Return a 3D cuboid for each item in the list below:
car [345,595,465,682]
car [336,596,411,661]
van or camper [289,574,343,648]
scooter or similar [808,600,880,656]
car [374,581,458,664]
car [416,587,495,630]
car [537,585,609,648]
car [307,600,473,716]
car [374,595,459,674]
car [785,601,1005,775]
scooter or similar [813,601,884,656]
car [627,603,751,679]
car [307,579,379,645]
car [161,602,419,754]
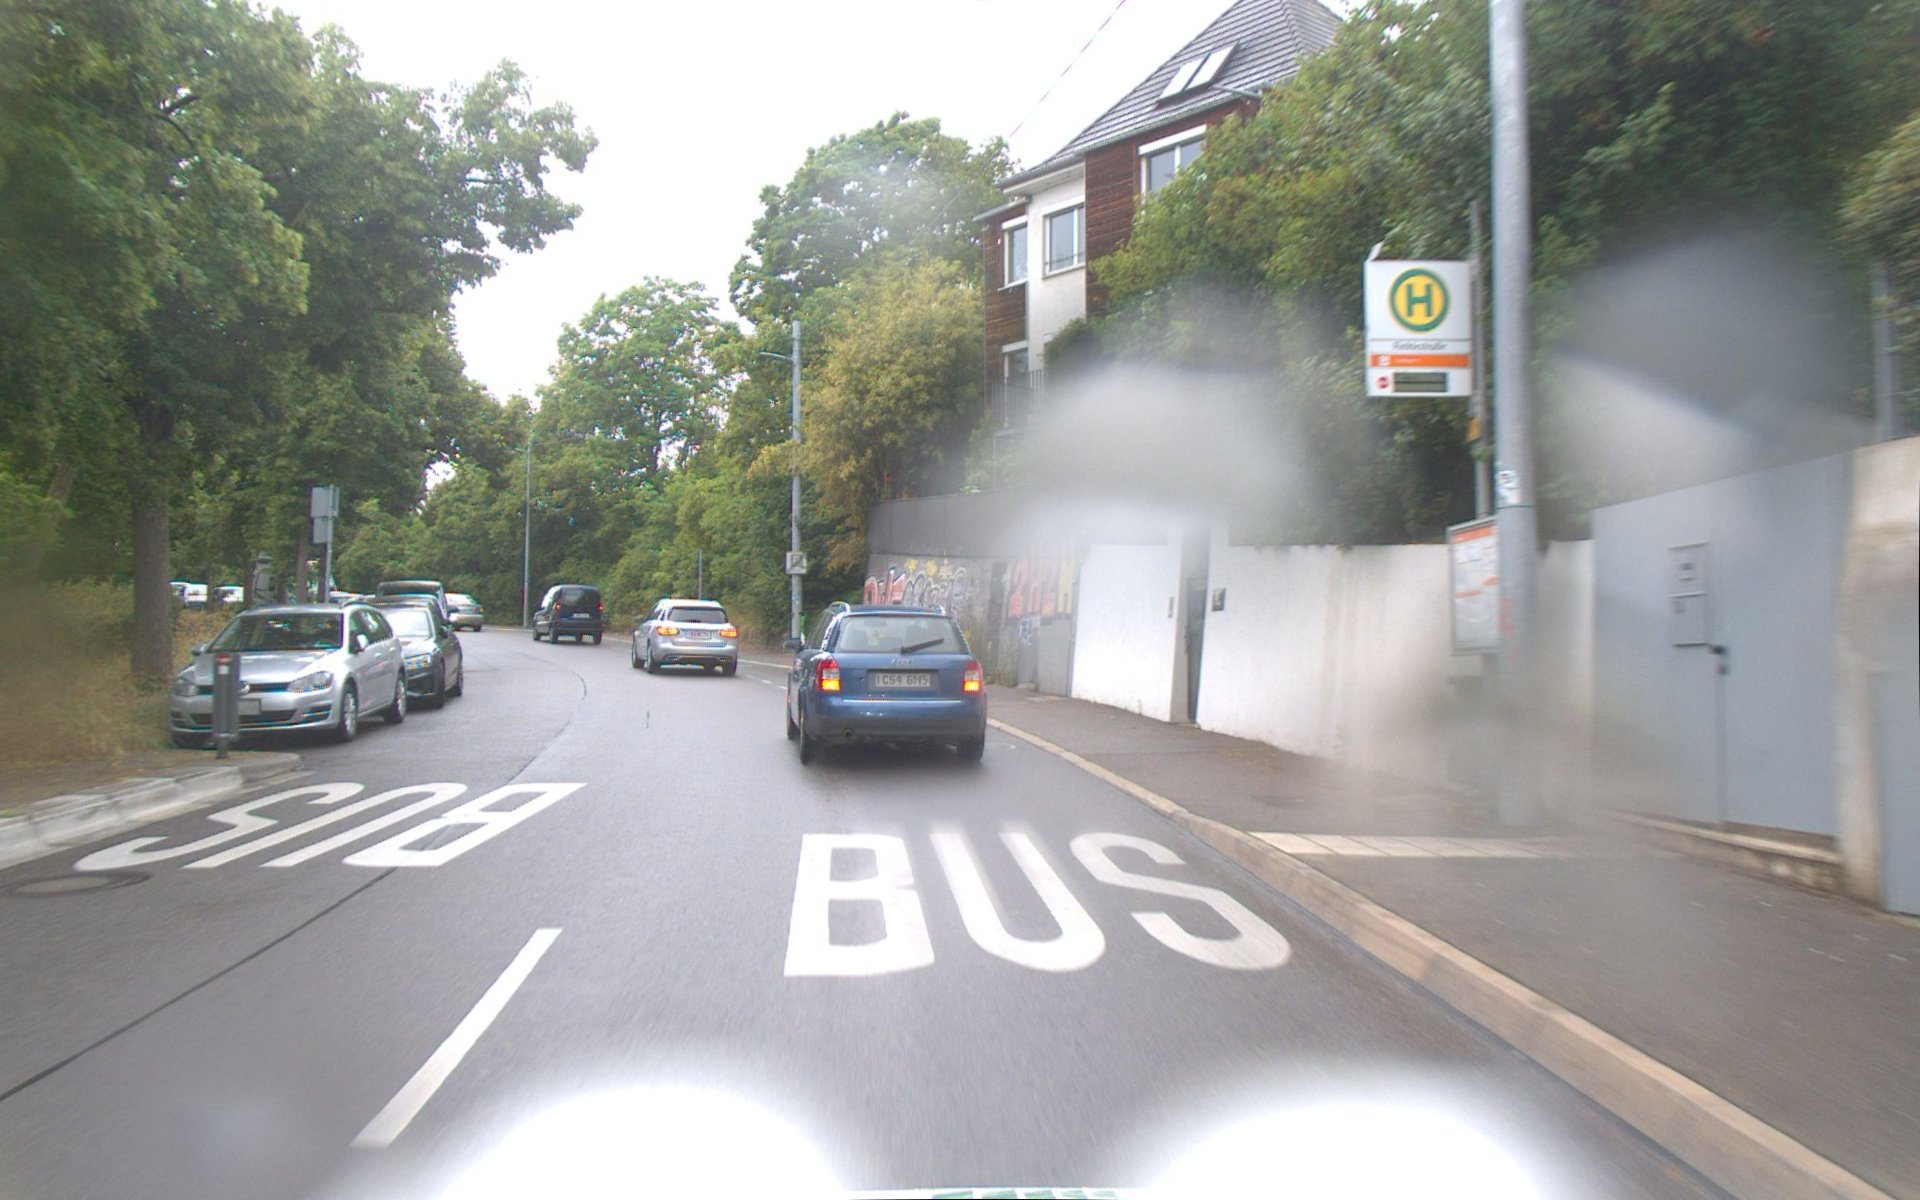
[{"bbox_3d":[-10.162,0.663,30.507,1.645,1.451,3.987,-2,0,-13],"label":"car"},{"bbox_3d":[-17.454,0.829,49.135,1.965,1.758,3.974,-2,0,-21],"label":"car"},{"bbox_3d":[-24.940,0.415,64.022,1.756,2.697,3.961,-2,0,-23],"label":"van or camper"},{"bbox_3d":[-3.075,0.739,43.708,1.799,1.338,0.599,4,-3,-7],"label":"scooter or similar"},{"bbox_3d":[-13.368,0.534,40.624,1.809,1.875,3.881,-2,0,-19],"label":"car"},{"bbox_3d":[-19.852,0.344,64.996,1.753,1.597,3.977,-2,0,-37],"label":"car"},{"bbox_3d":[-12.657,0.513,53.953,1.706,1.927,4.028,-2,0,-22],"label":"car"},{"bbox_3d":[-8.045,0.758,23.667,1.644,1.451,3.989,-2,0,-11],"label":"car"},{"bbox_3d":[-11.823,0.720,36.092,1.648,1.579,3.883,-2,0,-18],"label":"car"},{"bbox_3d":[-0.763,0.763,16.304,1.744,1.464,3.992,-1,0,-8],"label":"car"},{"bbox_3d":[-2.997,0.781,44.447,1.799,1.338,0.599,4,-3,-7],"label":"scooter or similar"},{"bbox_3d":[-5.630,0.794,34.000,1.879,1.413,4.328,2,-1,-18],"label":"car"},{"bbox_3d":[-20.504,0.390,54.907,1.968,2.049,3.970,-2,0,-24],"label":"car"},{"bbox_3d":[-7.350,0.776,18.552,1.642,1.451,3.994,-2,0,-7],"label":"car"}]
